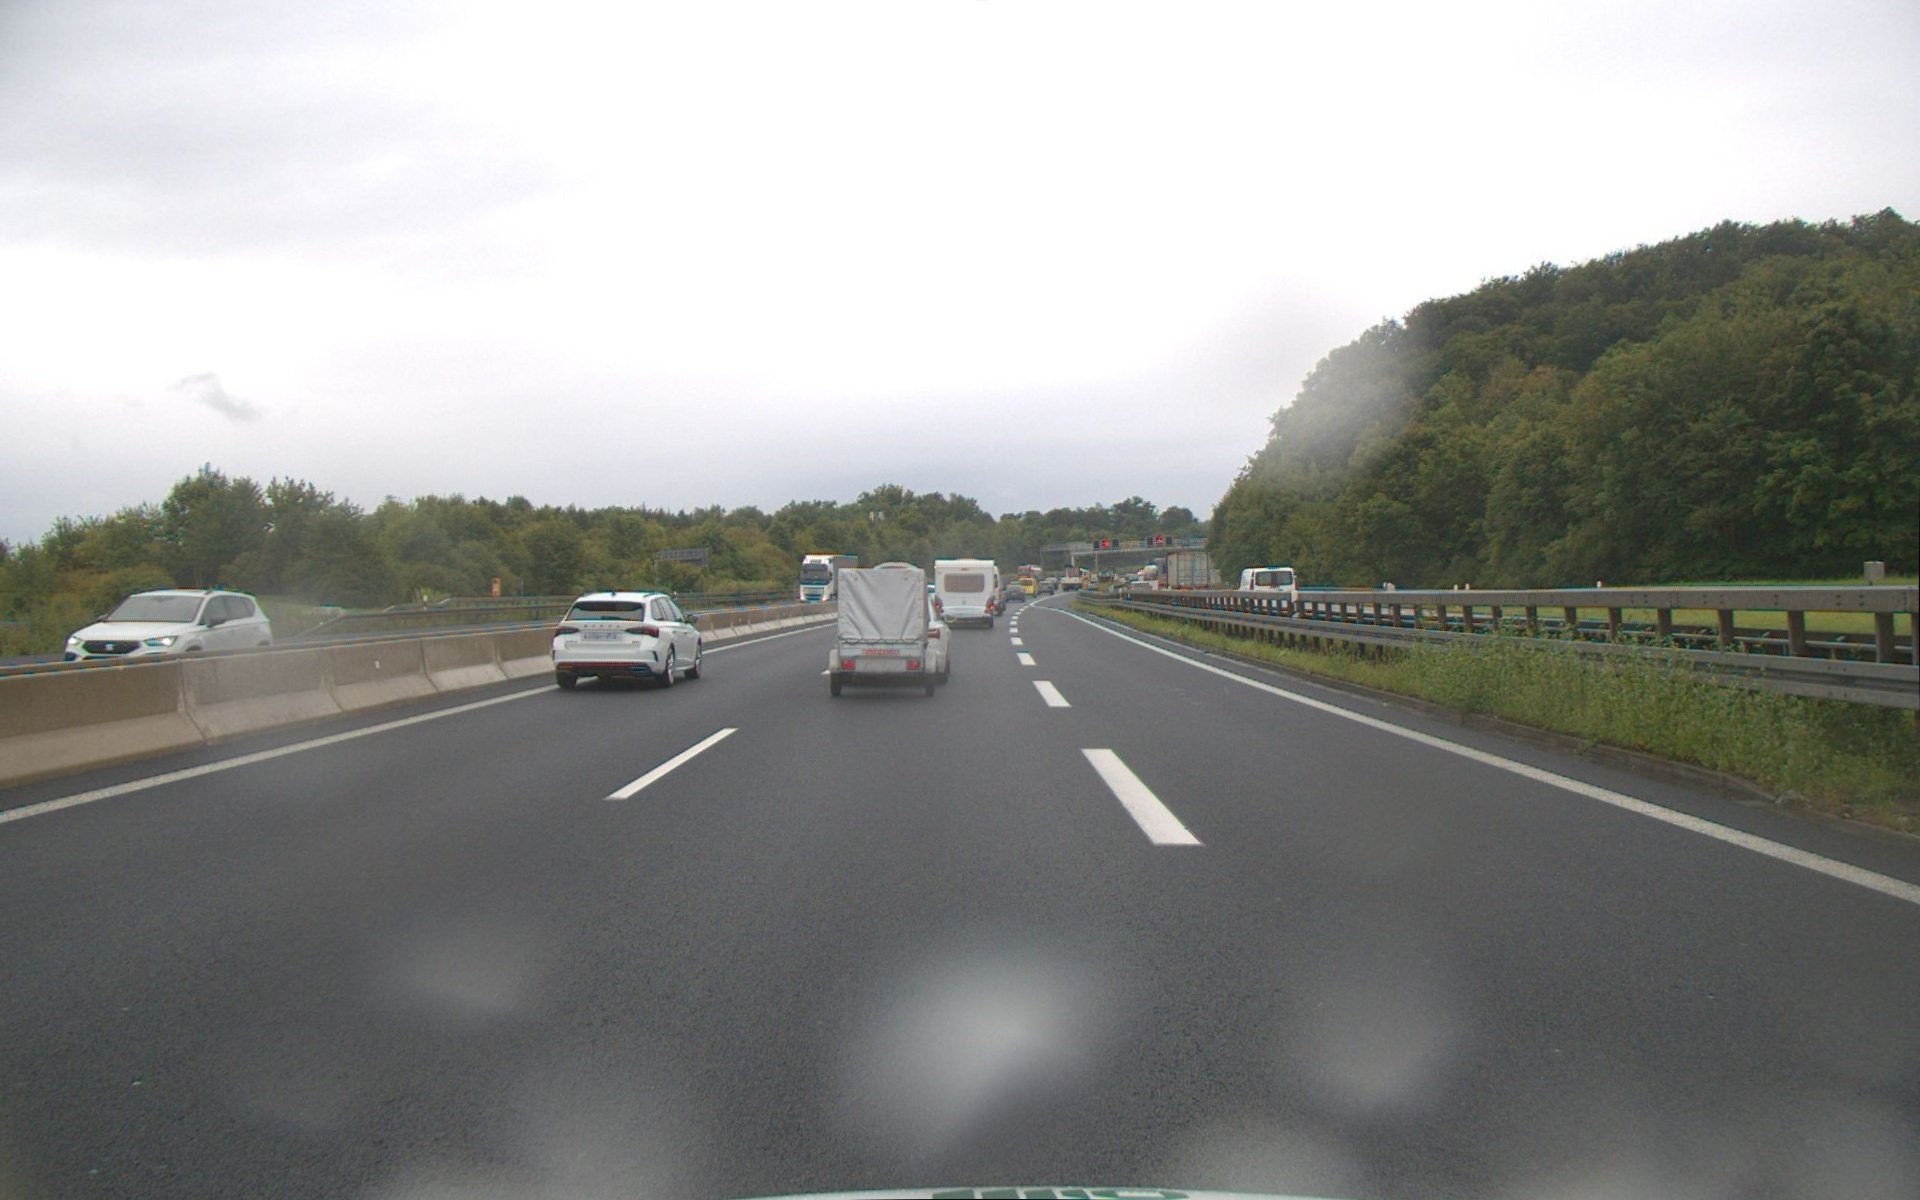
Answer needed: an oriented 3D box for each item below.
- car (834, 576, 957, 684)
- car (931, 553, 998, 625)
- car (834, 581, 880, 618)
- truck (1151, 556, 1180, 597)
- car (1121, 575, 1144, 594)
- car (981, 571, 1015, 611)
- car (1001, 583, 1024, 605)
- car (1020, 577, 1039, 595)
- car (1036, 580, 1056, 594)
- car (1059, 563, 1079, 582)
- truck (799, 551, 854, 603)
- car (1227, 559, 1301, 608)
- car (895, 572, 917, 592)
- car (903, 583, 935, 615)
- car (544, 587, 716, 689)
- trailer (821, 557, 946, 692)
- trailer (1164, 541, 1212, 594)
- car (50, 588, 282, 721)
[{"bbox_3d":[-1.012,0.477,28.172,1.781,1.644,4.778,-1,0,1],"label":"car"},{"bbox_3d":[0.206,-0.389,64.373,2.456,2.630,5.699,-1,0,0],"label":"car"},{"bbox_3d":[-4.335,-0.023,70.206,1.641,1.481,4.000,-1,0,0],"label":"car"},{"bbox_3d":[24.790,-2.736,200.378,3.147,4.748,13.041,-1,0,6],"label":"truck"},{"bbox_3d":[13.833,-1.242,132.639,1.632,1.407,4.128,-3,0,5],"label":"car"},{"bbox_3d":[2.097,-0.493,90.640,1.640,2.103,4.002,-1,0,5],"label":"car"},{"bbox_3d":[4.610,-0.495,144.783,1.640,1.844,4.003,-1,0,6],"label":"car"},{"bbox_3d":[7.357,-1.447,175.022,1.640,1.844,4.003,-1,0,7],"label":"car"},{"bbox_3d":[10.363,-1.553,198.923,1.994,1.712,4.003,-1,0,8],"label":"car"},{"bbox_3d":[15.695,-3.918,237.613,2.462,2.620,5.316,-1,0,7],"label":"car"},{"bbox_3d":[-11.265,-1.828,140.645,2.728,4.164,12.305,-1,0,4],"label":"truck"},{"bbox_3d":[11.201,-0.584,61.222,1.870,1.723,4.719,-1,0,0],"label":"car"},{"bbox_3d":[-5.358,-1.797,165.132,1.701,1.953,4.318,-1,0,4],"label":"car"},{"bbox_3d":[-2.602,-0.065,106.047,1.953,1.952,3.999,-1,0,-1],"label":"car"},{"bbox_3d":[-5.265,0.574,26.984,1.781,1.481,4.778,-1,0,1],"label":"car"},{"bbox_3d":[-1.070,0.341,24.857,1.641,1.844,4.000,-1,0,0],"label":"trailer"},{"bbox_3d":[18.180,-2.514,132.419,2.550,3.962,12.494,-1,0,2],"label":"trailer"},{"bbox_3d":[-12.675,0.816,26.714,1.702,1.953,4.315,-1,0,-1],"label":"car"}]
